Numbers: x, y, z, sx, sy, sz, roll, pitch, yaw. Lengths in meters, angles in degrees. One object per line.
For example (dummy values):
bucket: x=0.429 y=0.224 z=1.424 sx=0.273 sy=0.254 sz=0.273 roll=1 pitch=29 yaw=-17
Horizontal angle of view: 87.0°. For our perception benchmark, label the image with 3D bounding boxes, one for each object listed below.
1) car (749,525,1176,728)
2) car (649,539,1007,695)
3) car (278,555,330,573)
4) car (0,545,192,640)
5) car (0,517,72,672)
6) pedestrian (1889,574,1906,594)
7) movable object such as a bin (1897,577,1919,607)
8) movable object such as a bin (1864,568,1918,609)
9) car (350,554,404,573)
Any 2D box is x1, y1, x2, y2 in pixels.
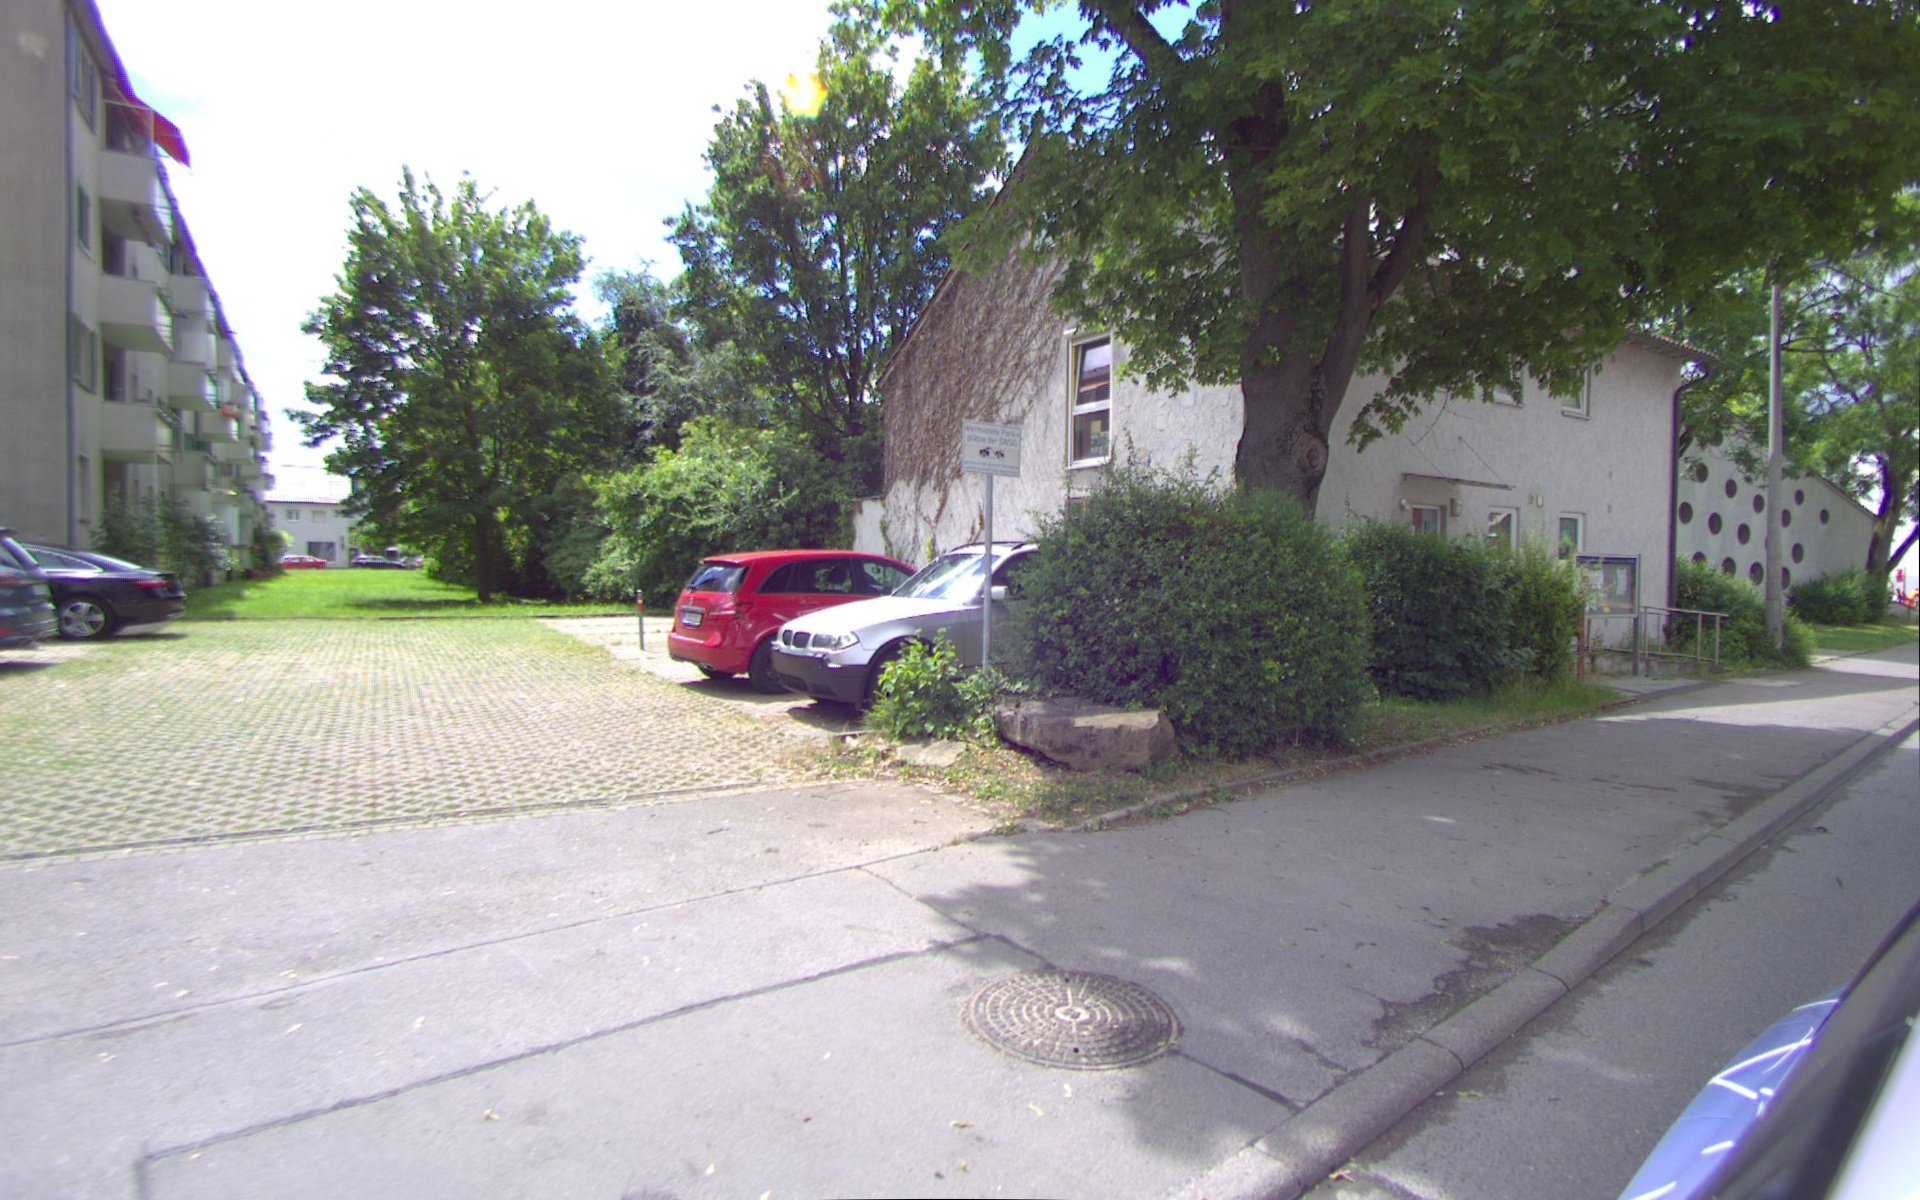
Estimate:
car: x=0.079 y=0.175 z=10.174 sx=3.922 sy=1.670 sz=1.819 roll=0 pitch=2 yaw=-32
car: x=-1.523 y=0.117 z=12.277 sx=3.926 sy=1.603 sz=1.817 roll=-1 pitch=2 yaw=-37
car: x=-53.829 y=-2.989 z=83.104 sx=3.432 sy=1.419 sz=1.556 roll=-3 pitch=4 yaw=-29
car: x=-13.685 y=-0.137 z=15.011 sx=3.485 sy=1.331 sz=1.678 roll=0 pitch=1 yaw=-32
car: x=-12.050 y=-0.092 z=10.475 sx=4.026 sy=1.627 sz=1.805 roll=0 pitch=1 yaw=-32
pedestrian: x=61.428 y=-1.050 z=66.311 sx=0.540 sy=1.231 sz=0.618 roll=1 pitch=1 yaw=-3
movable object such as a bin: x=67.869 y=-0.531 z=70.687 sx=1.960 sy=2.038 sz=2.971 roll=1 pitch=1 yaw=-4
movable object such as a bin: x=61.778 y=-0.774 z=67.205 sx=1.295 sy=2.626 sz=2.364 roll=0 pitch=1 yaw=-2
car: x=-49.400 y=-3.140 z=85.822 sx=3.924 sy=1.504 sz=1.582 roll=-3 pitch=4 yaw=-28
